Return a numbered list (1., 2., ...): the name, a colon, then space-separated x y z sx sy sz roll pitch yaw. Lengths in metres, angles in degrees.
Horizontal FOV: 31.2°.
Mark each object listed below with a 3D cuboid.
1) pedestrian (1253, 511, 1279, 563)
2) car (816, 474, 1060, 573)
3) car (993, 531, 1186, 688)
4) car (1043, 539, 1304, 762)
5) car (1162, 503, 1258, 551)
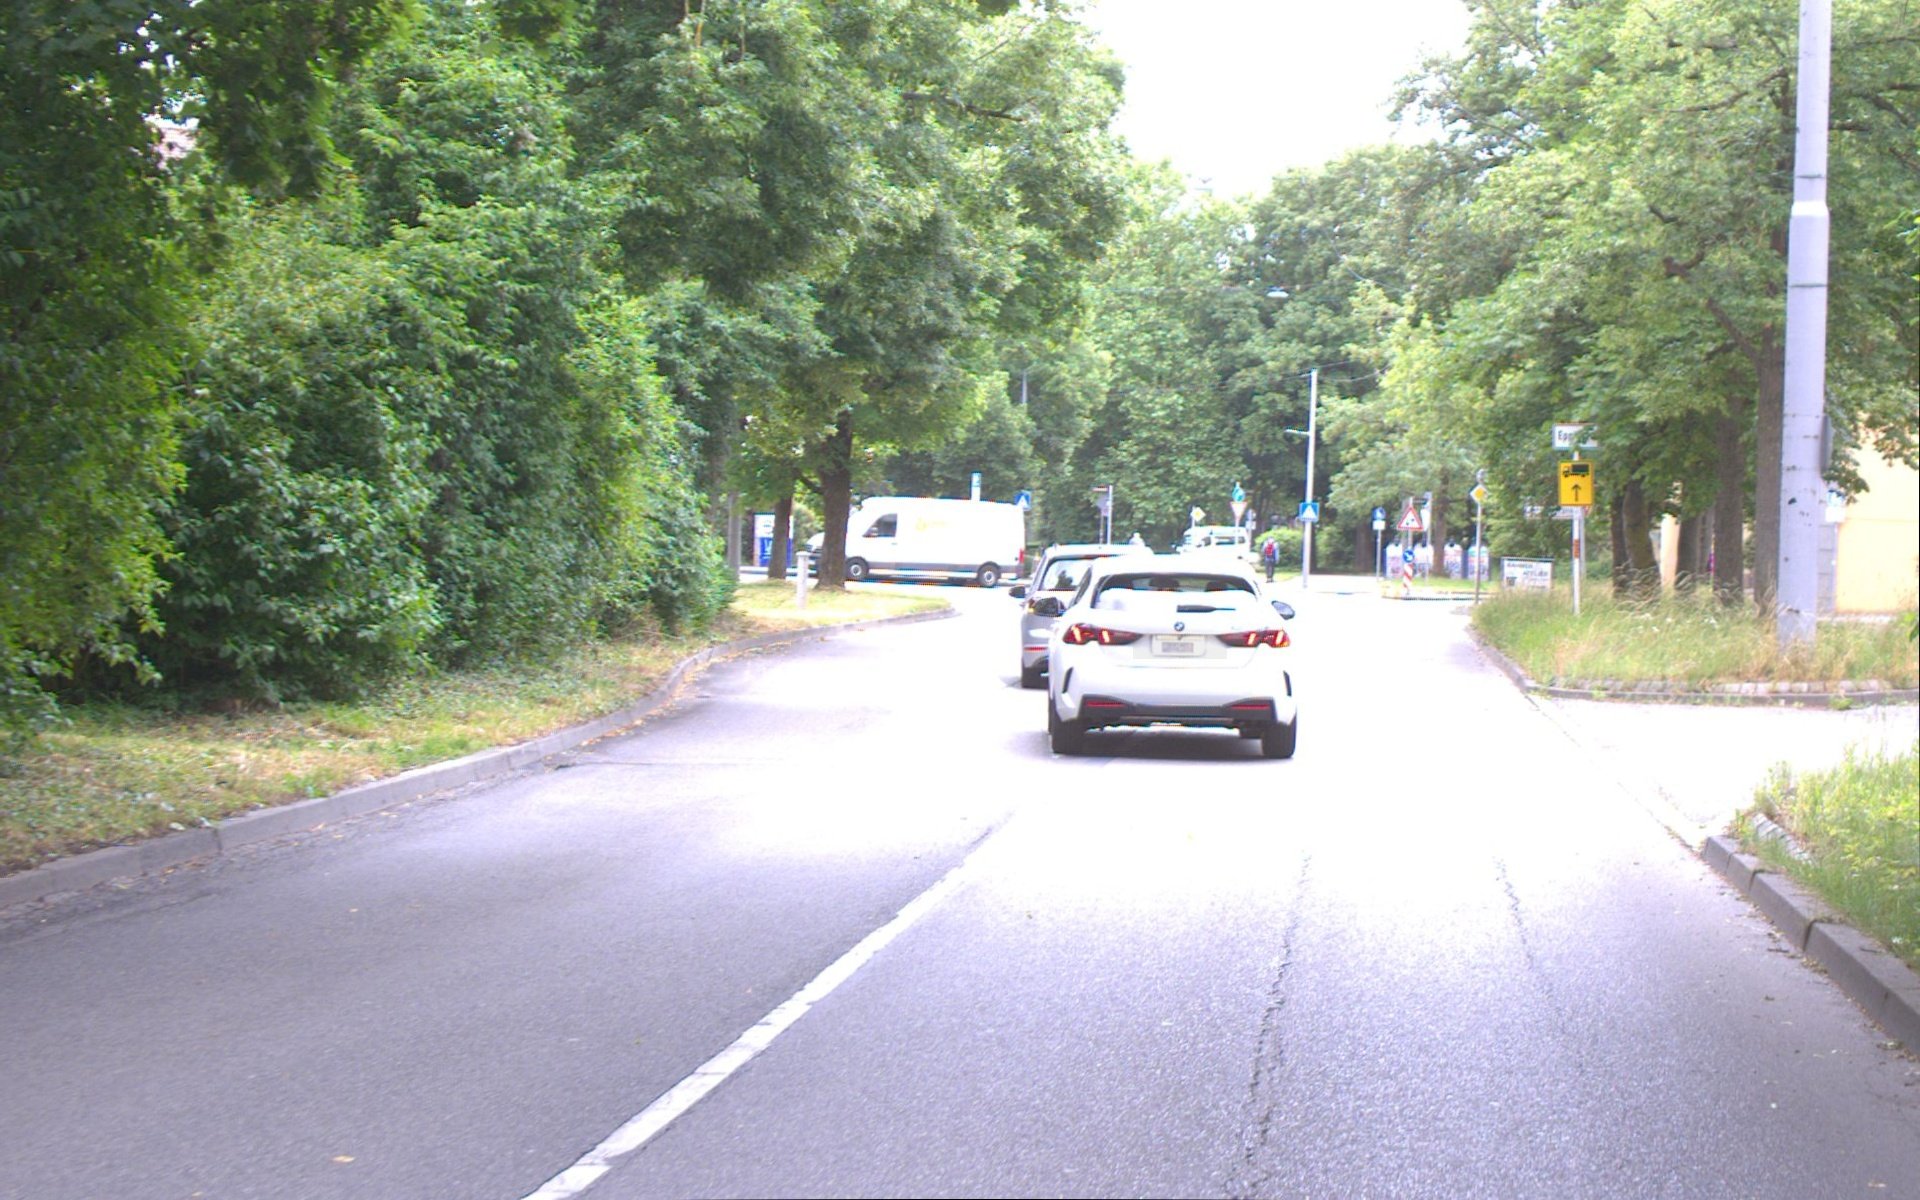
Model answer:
1. pedestrian: 11.543 -2.386 129.742 0.924 1.865 1.019 -1 4 4
2. car: -0.631 -2.277 102.295 6.957 2.513 2.085 2 3 -30
3. car: 1.508 0.063 38.637 1.923 1.568 4.000 2 2 5
4. car: 1.679 0.319 26.450 1.796 1.512 4.206 2 1 5
5. car: 14.006 -4.065 192.437 5.370 2.289 2.137 2 3 -44
